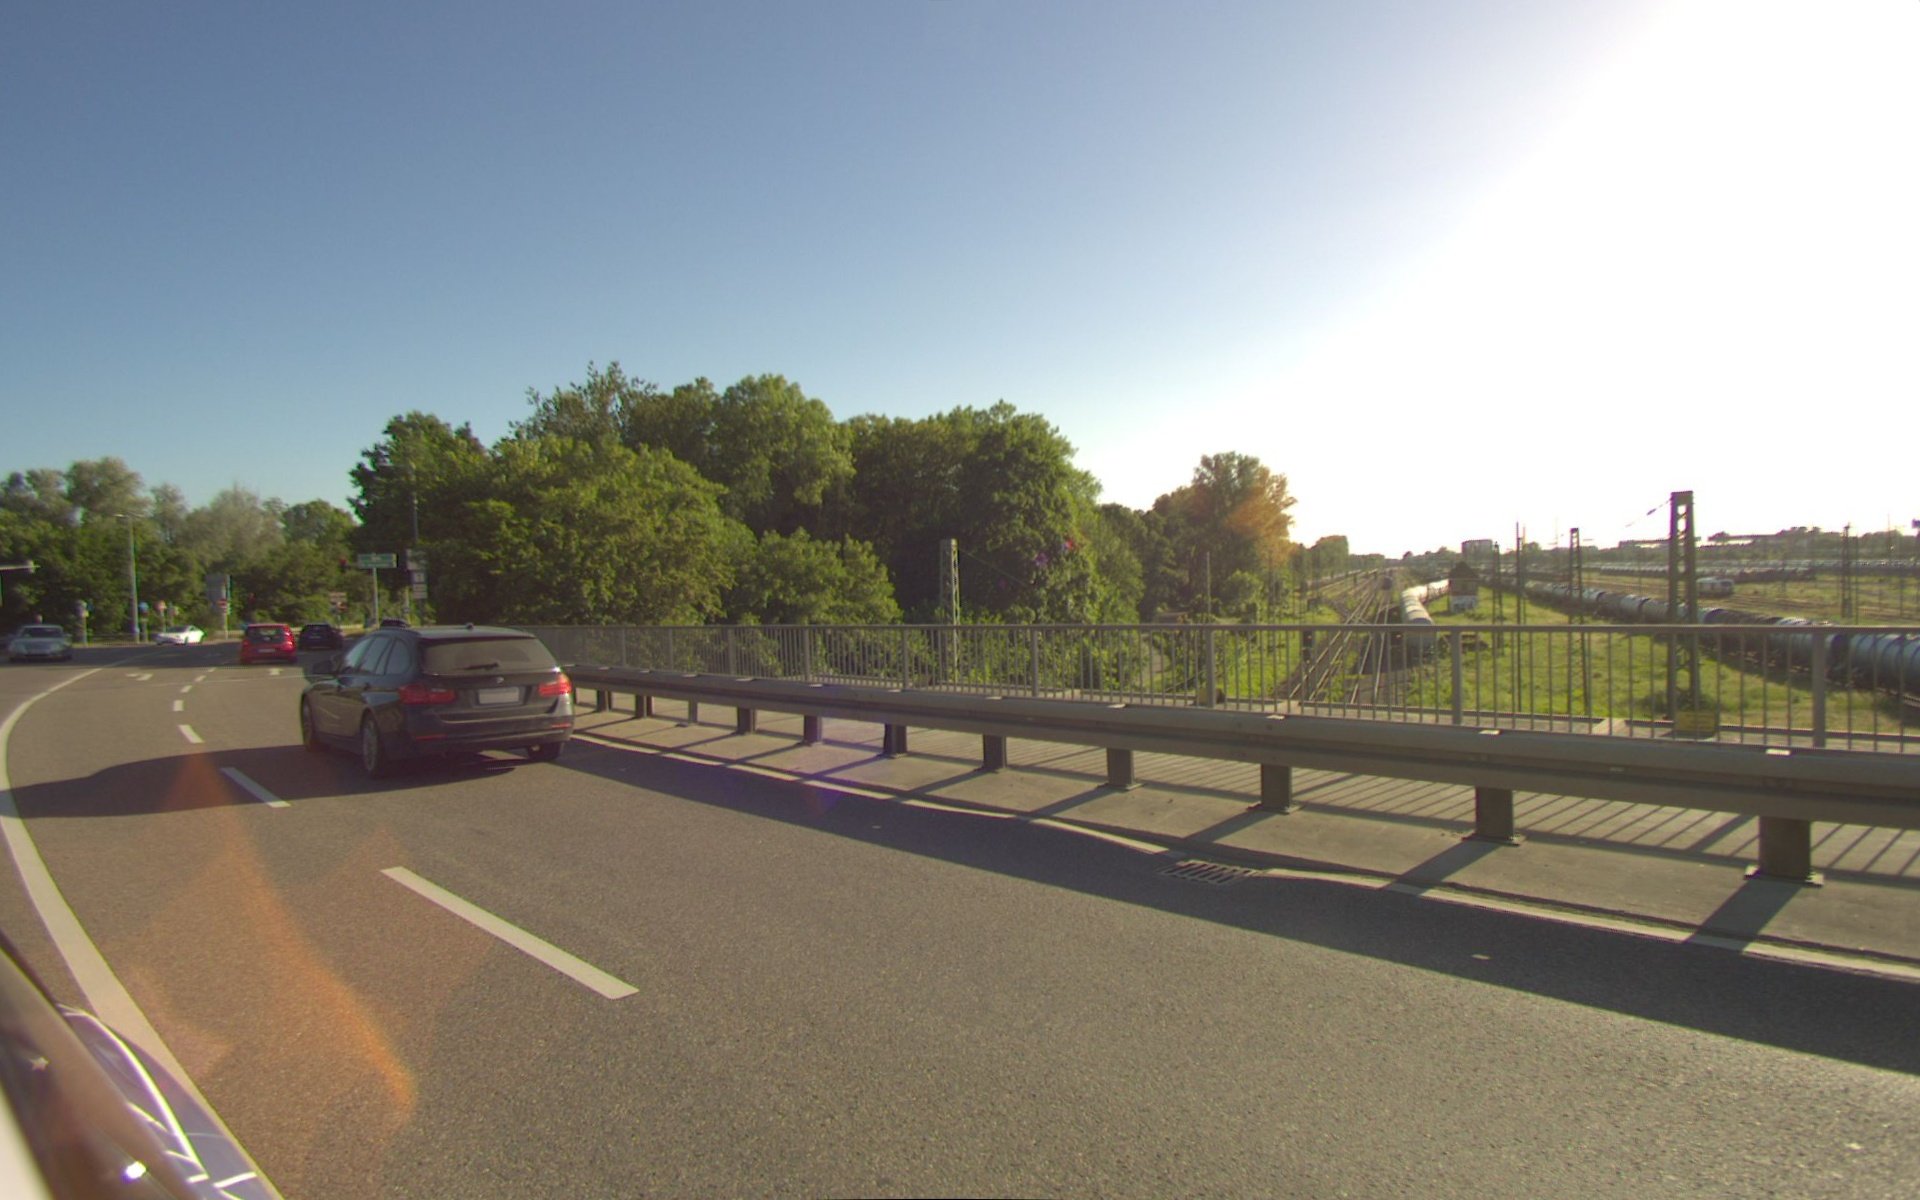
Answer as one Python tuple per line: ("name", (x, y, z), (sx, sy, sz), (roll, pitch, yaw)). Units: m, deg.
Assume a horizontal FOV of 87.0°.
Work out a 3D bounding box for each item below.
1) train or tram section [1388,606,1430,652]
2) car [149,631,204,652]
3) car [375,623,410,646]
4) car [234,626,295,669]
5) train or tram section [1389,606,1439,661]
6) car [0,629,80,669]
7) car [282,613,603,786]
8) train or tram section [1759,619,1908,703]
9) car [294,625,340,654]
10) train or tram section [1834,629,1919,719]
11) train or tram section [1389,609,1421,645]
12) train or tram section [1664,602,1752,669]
("train or tram section", (53.792, 3.337, 121.788), (4.022, 5.125, 18.050), (-2, -1, 22))
("car", (-59.452, 3.117, 76.849), (1.961, 1.484, 4.142), (-1, -1, -17))
("car", (-43.031, 2.595, 76.777), (1.779, 1.650, 4.013), (-1, -1, -21))
("car", (-25.369, 1.698, 36.988), (1.757, 1.448, 3.885), (0, -1, -33))
("train or tram section", (46.681, 3.258, 104.576), (4.022, 5.125, 19.207), (-2, -1, 22))
("car", (-36.978, 1.921, 40.745), (1.736, 1.447, 4.341), (-1, -1, -33))
("car", (-5.682, 0.909, 10.831), (1.852, 1.450, 4.324), (0, -1, -44))
("train or tram section", (67.306, 4.421, 78.681), (3.881, 5.561, 16.374), (-2, -1, 23))
("car", (-35.494, 2.159, 55.939), (1.700, 1.497, 4.421), (0, -1, -27))
("train or tram section", (60.808, 4.582, 63.696), (3.881, 5.054, 16.237), (-2, -1, 23))
("train or tram section", (67.818, 3.977, 154.587), (4.022, 5.125, 17.733), (-2, -1, 22))
("train or tram section", (80.551, 3.623, 109.447), (3.881, 6.661, 16.374), (-2, -1, 23))
